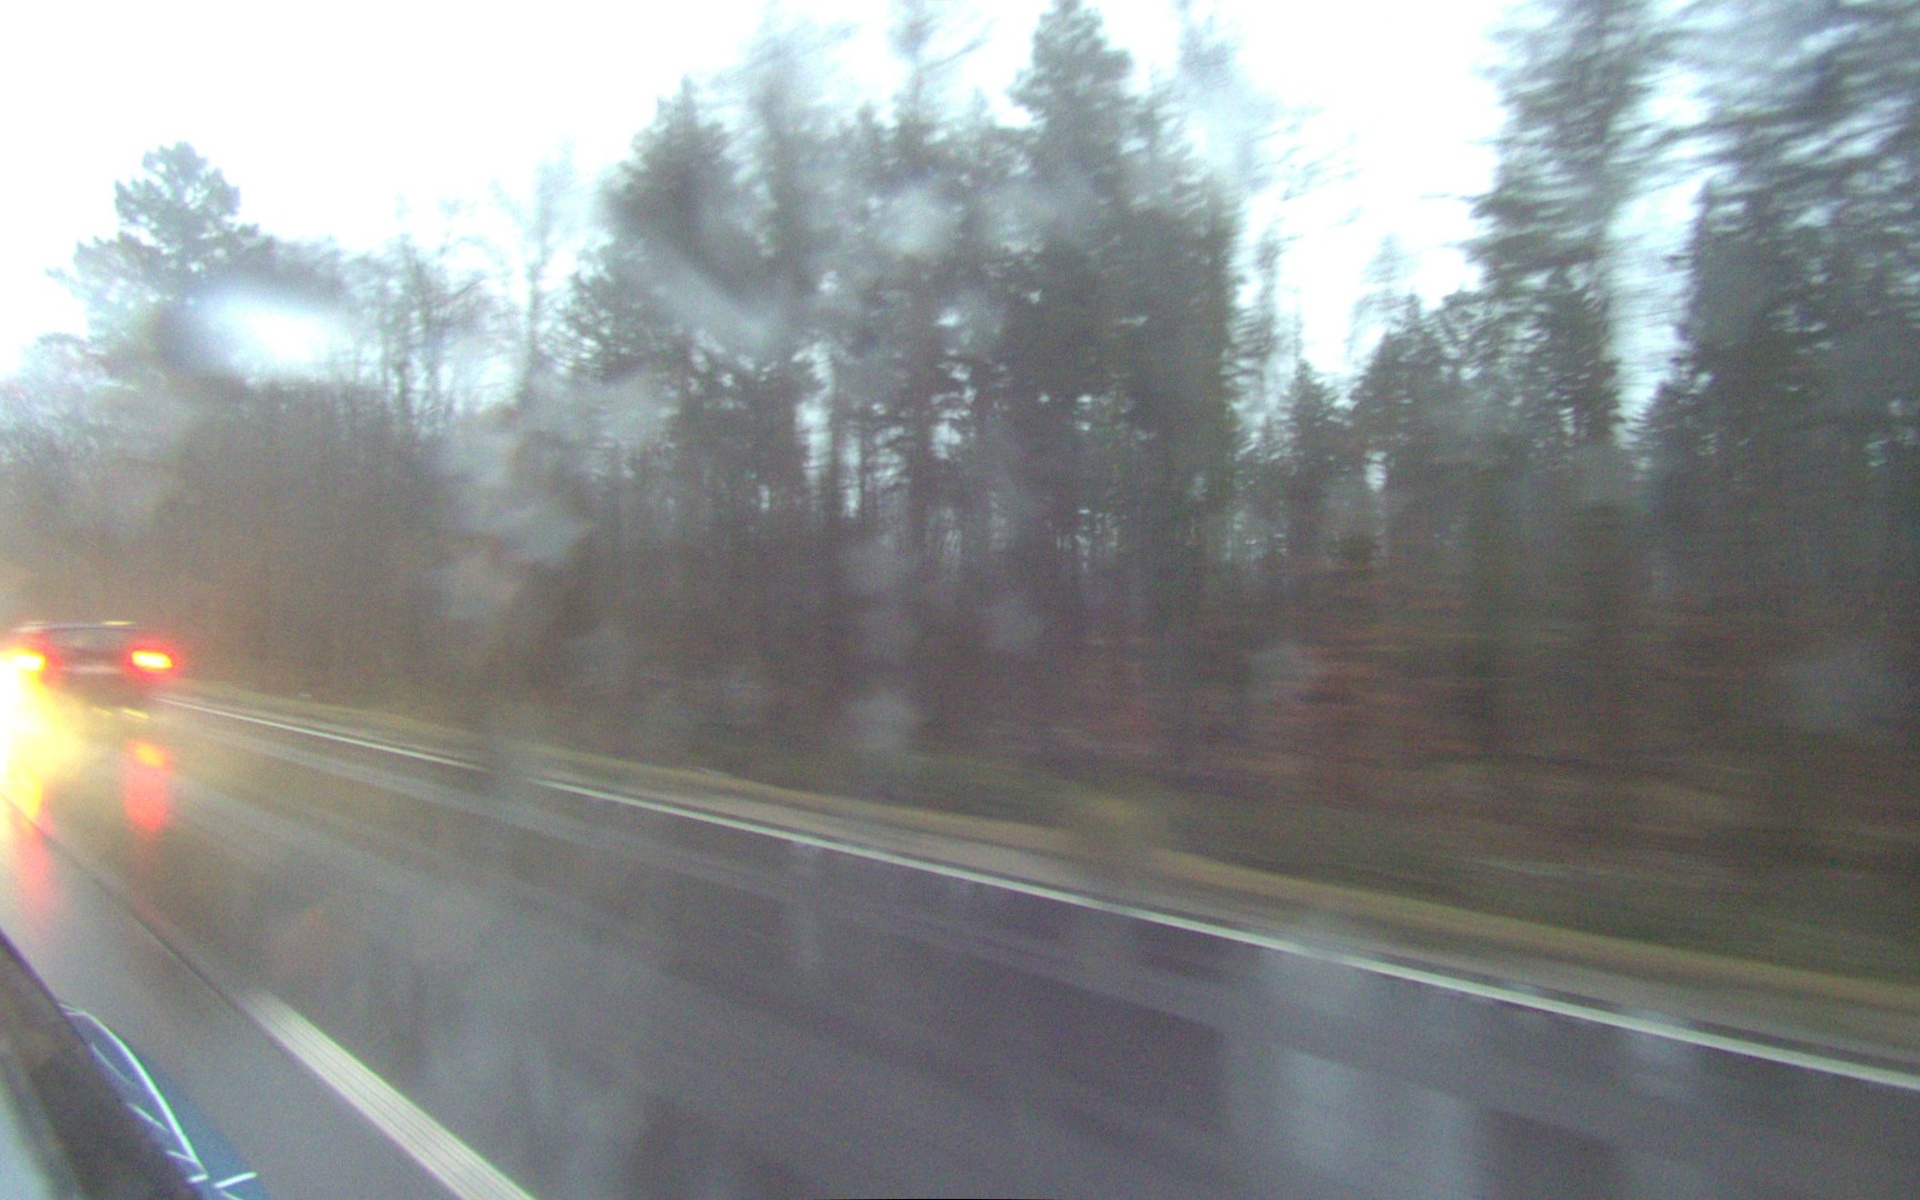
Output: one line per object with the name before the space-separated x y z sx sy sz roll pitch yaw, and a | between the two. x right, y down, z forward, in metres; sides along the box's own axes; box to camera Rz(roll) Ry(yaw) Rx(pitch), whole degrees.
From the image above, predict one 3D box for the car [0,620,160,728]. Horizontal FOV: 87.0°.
car | -14.150 1.069 15.881 4.175 1.472 1.780 -1 -3 42
